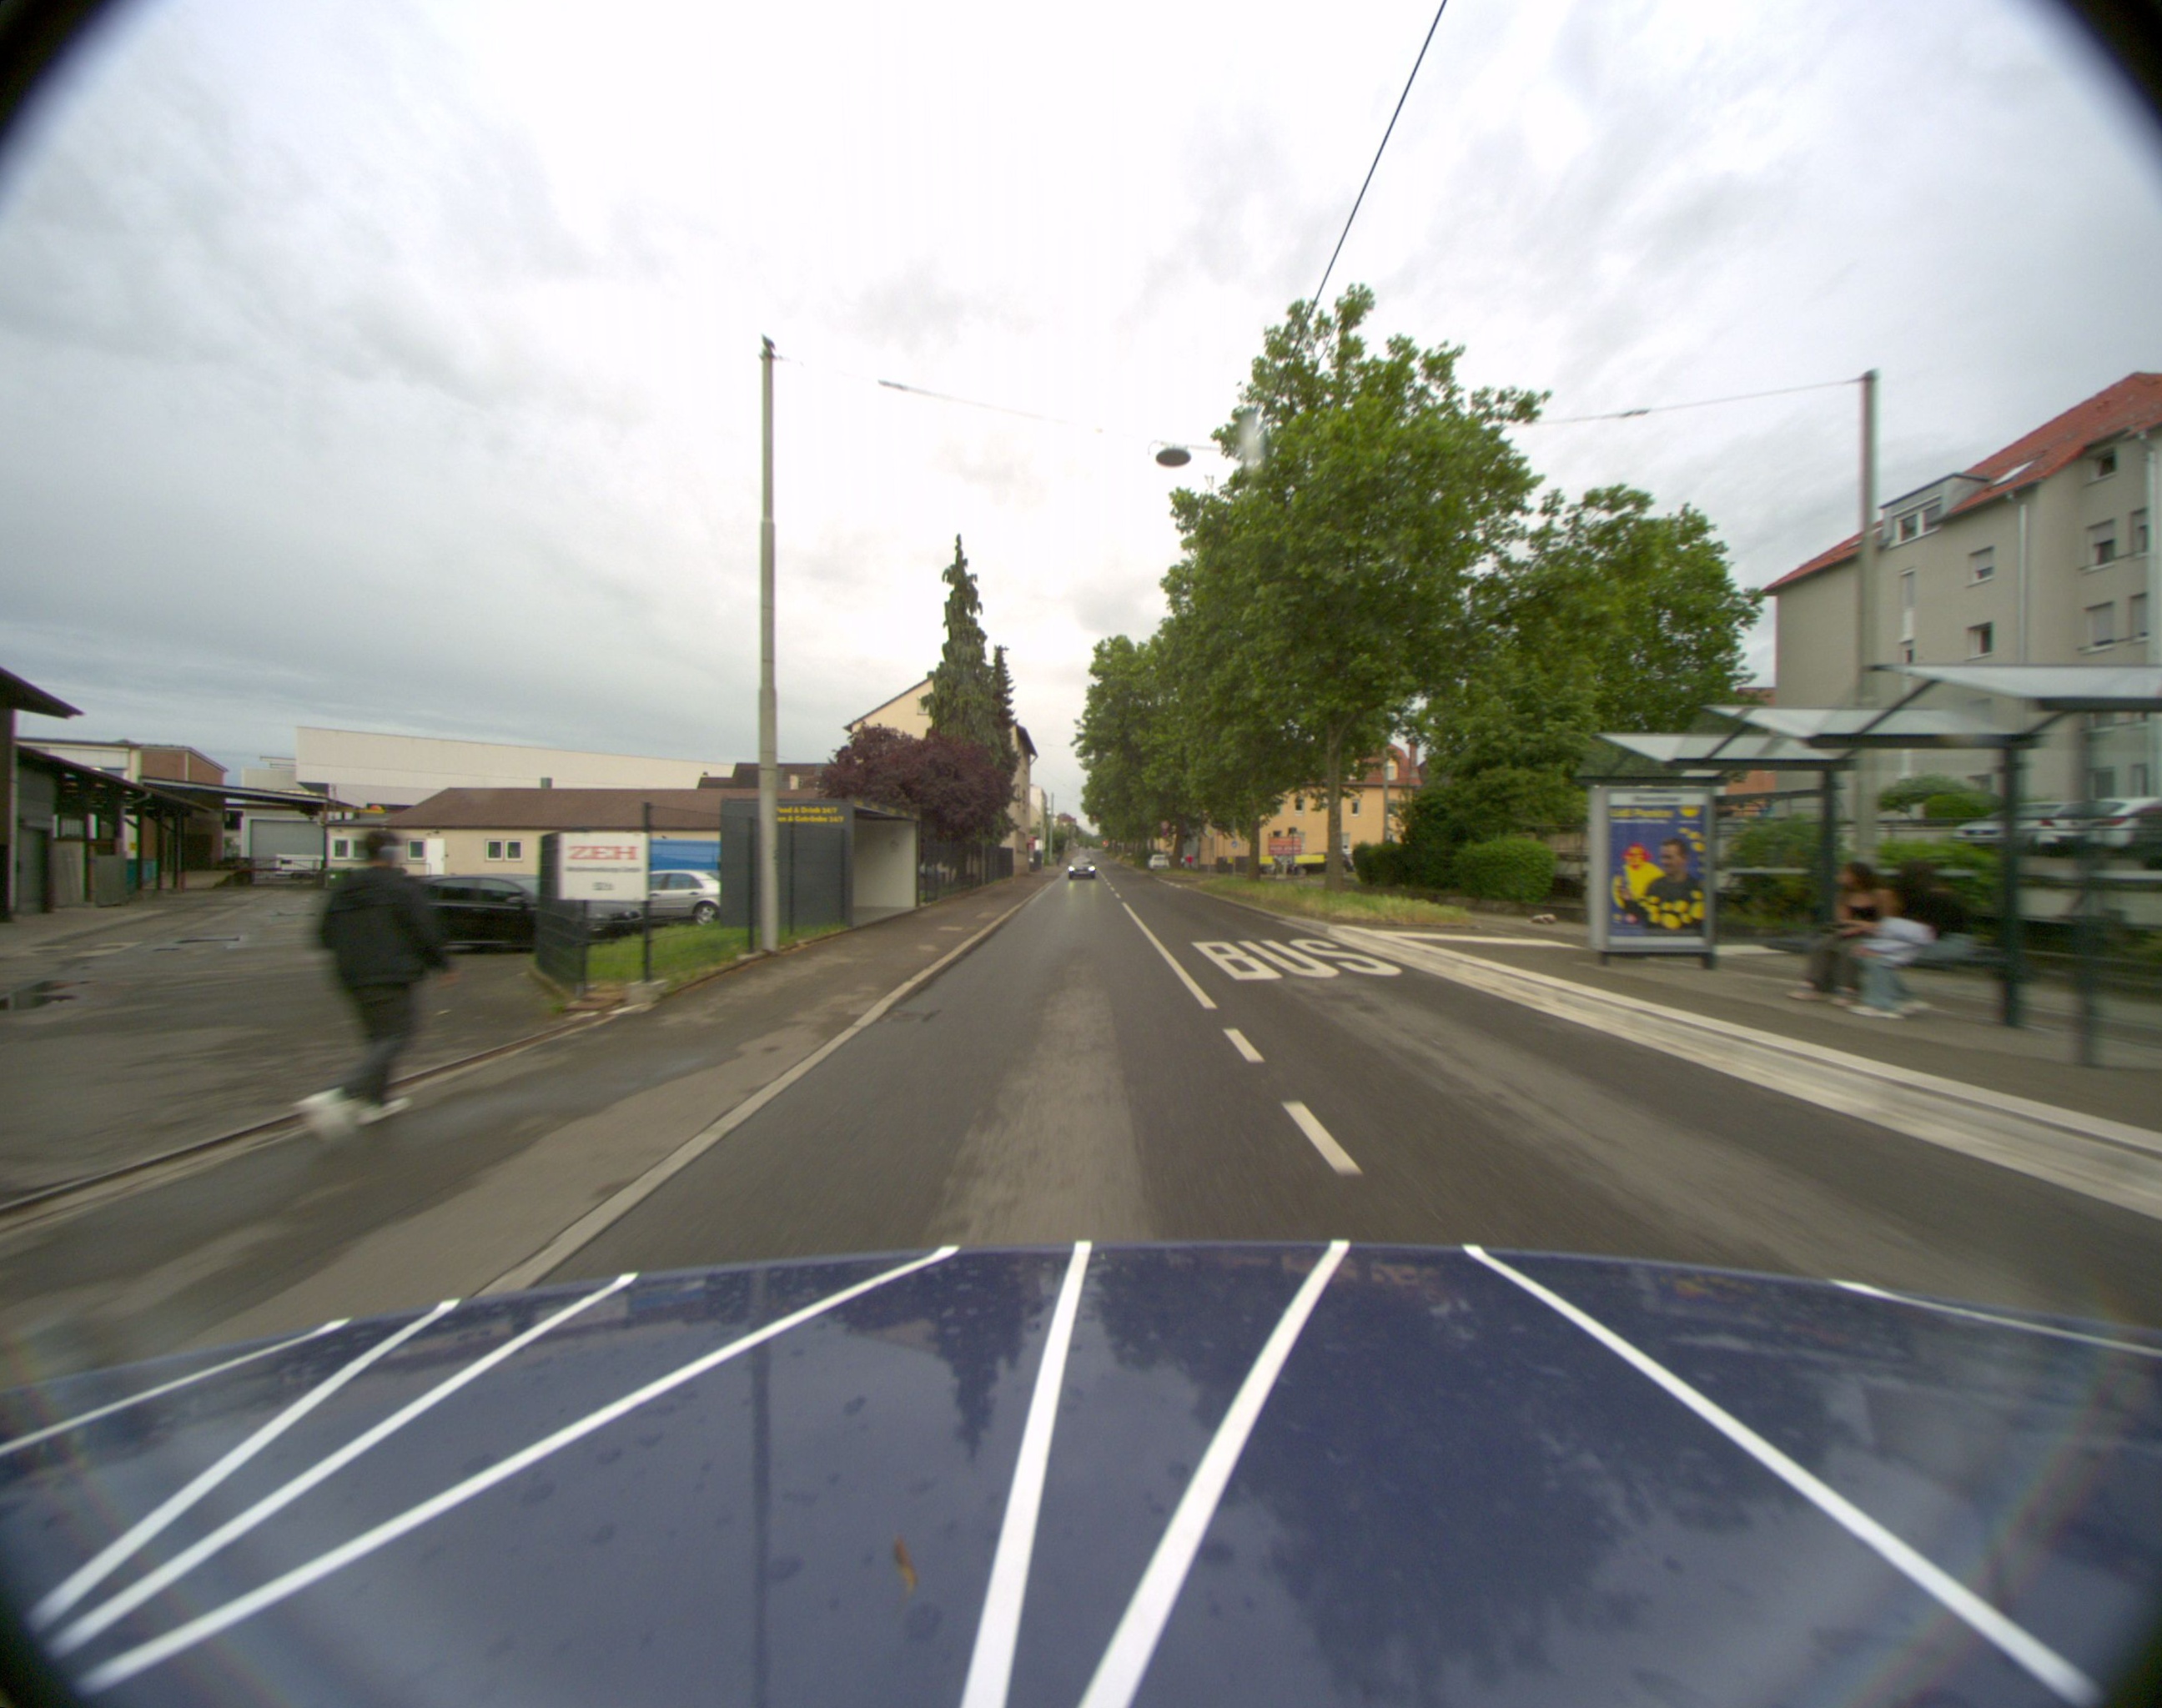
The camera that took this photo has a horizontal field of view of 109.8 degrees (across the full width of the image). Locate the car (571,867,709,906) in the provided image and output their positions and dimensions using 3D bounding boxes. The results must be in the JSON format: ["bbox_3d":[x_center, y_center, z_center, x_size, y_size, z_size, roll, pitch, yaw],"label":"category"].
[{"bbox_3d":[-17.409,1.261,30.176,4.369,1.415,1.799,-1,0,-4],"label":"car"}]

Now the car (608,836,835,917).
[{"bbox_3d":[-10.239,0.620,21.989,5.582,2.198,2.000,0,0,-1],"label":"car"}]

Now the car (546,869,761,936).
[{"bbox_3d":[-10.719,1.195,19.297,4.390,1.522,1.793,0,2,-1],"label":"car"}]

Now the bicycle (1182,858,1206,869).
[{"bbox_3d":[10.088,0.848,67.793,2.259,0.990,0.557,0,3,45],"label":"bicycle"}]

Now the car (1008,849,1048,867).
[{"bbox_3d":[-5.388,0.388,77.473,3.958,1.714,1.791,-2,1,0],"label":"car"}]

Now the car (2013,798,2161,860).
[{"bbox_3d":[25.980,-0.638,18.555,3.996,1.407,1.848,-2,2,3],"label":"car"}]

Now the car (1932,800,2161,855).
[{"bbox_3d":[26.274,-0.710,20.744,3.996,1.310,1.744,-2,2,3],"label":"car"}]

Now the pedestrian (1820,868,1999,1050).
[{"bbox_3d":[6.962,0.849,6.424,0.689,1.410,0.641,3,2,4],"label":"pedestrian"}]

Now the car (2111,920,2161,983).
[{"bbox_3d":[27.114,2.287,17.448,3.996,1.388,2.065,-1,0,3],"label":"car"}]

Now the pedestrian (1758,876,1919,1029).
[{"bbox_3d":[7.089,0.896,7.148,0.777,1.309,0.641,2,2,4],"label":"pedestrian"}]

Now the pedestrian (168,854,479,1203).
[{"bbox_3d":[-4.119,0.869,4.236,0.744,1.695,0.901,-2,2,-5],"label":"pedestrian"}]

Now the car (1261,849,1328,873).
[{"bbox_3d":[15.473,0.486,55.220,4.218,1.530,1.981,-2,2,-1],"label":"car"}]

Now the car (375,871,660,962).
[{"bbox_3d":[-10.445,1.120,14.309,3.996,1.415,1.784,-2,2,1],"label":"car"}]

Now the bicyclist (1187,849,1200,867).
[{"bbox_3d":[10.045,0.363,67.793,0.814,1.544,0.837,0,3,45],"label":"bicyclist"}]

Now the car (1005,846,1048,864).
[{"bbox_3d":[-5.740,0.119,80.120,4.313,1.758,1.999,-1,2,0],"label":"car"}]

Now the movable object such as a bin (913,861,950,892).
[{"bbox_3d":[-7.018,1.039,35.841,1.374,1.312,2.858,-2,0,-4],"label":"movable object such as a bin"}]

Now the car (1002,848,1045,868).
[{"bbox_3d":[-5.643,0.381,74.960,4.077,1.726,1.869,-2,2,0],"label":"car"}]

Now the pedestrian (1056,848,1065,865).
[{"bbox_3d":[-2.367,0.293,88.674,1.045,1.887,0.900,0,2,1],"label":"pedestrian"}]

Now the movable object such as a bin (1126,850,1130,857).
[{"bbox_3d":[7.894,-0.058,127.979,0.536,1.051,0.762,1,2,0],"label":"movable object such as a bin"}]

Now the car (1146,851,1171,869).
[{"bbox_3d":[7.211,0.527,71.003,1.790,1.542,4.351,-1,0,0],"label":"car"}]

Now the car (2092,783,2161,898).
[{"bbox_3d":[15.822,-0.224,9.626,3.663,1.490,1.896,-2,2,-3],"label":"car"}]

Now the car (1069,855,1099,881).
[{"bbox_3d":[0.187,0.945,52.012,1.949,1.644,3.858,-1,0,0],"label":"car"}]
